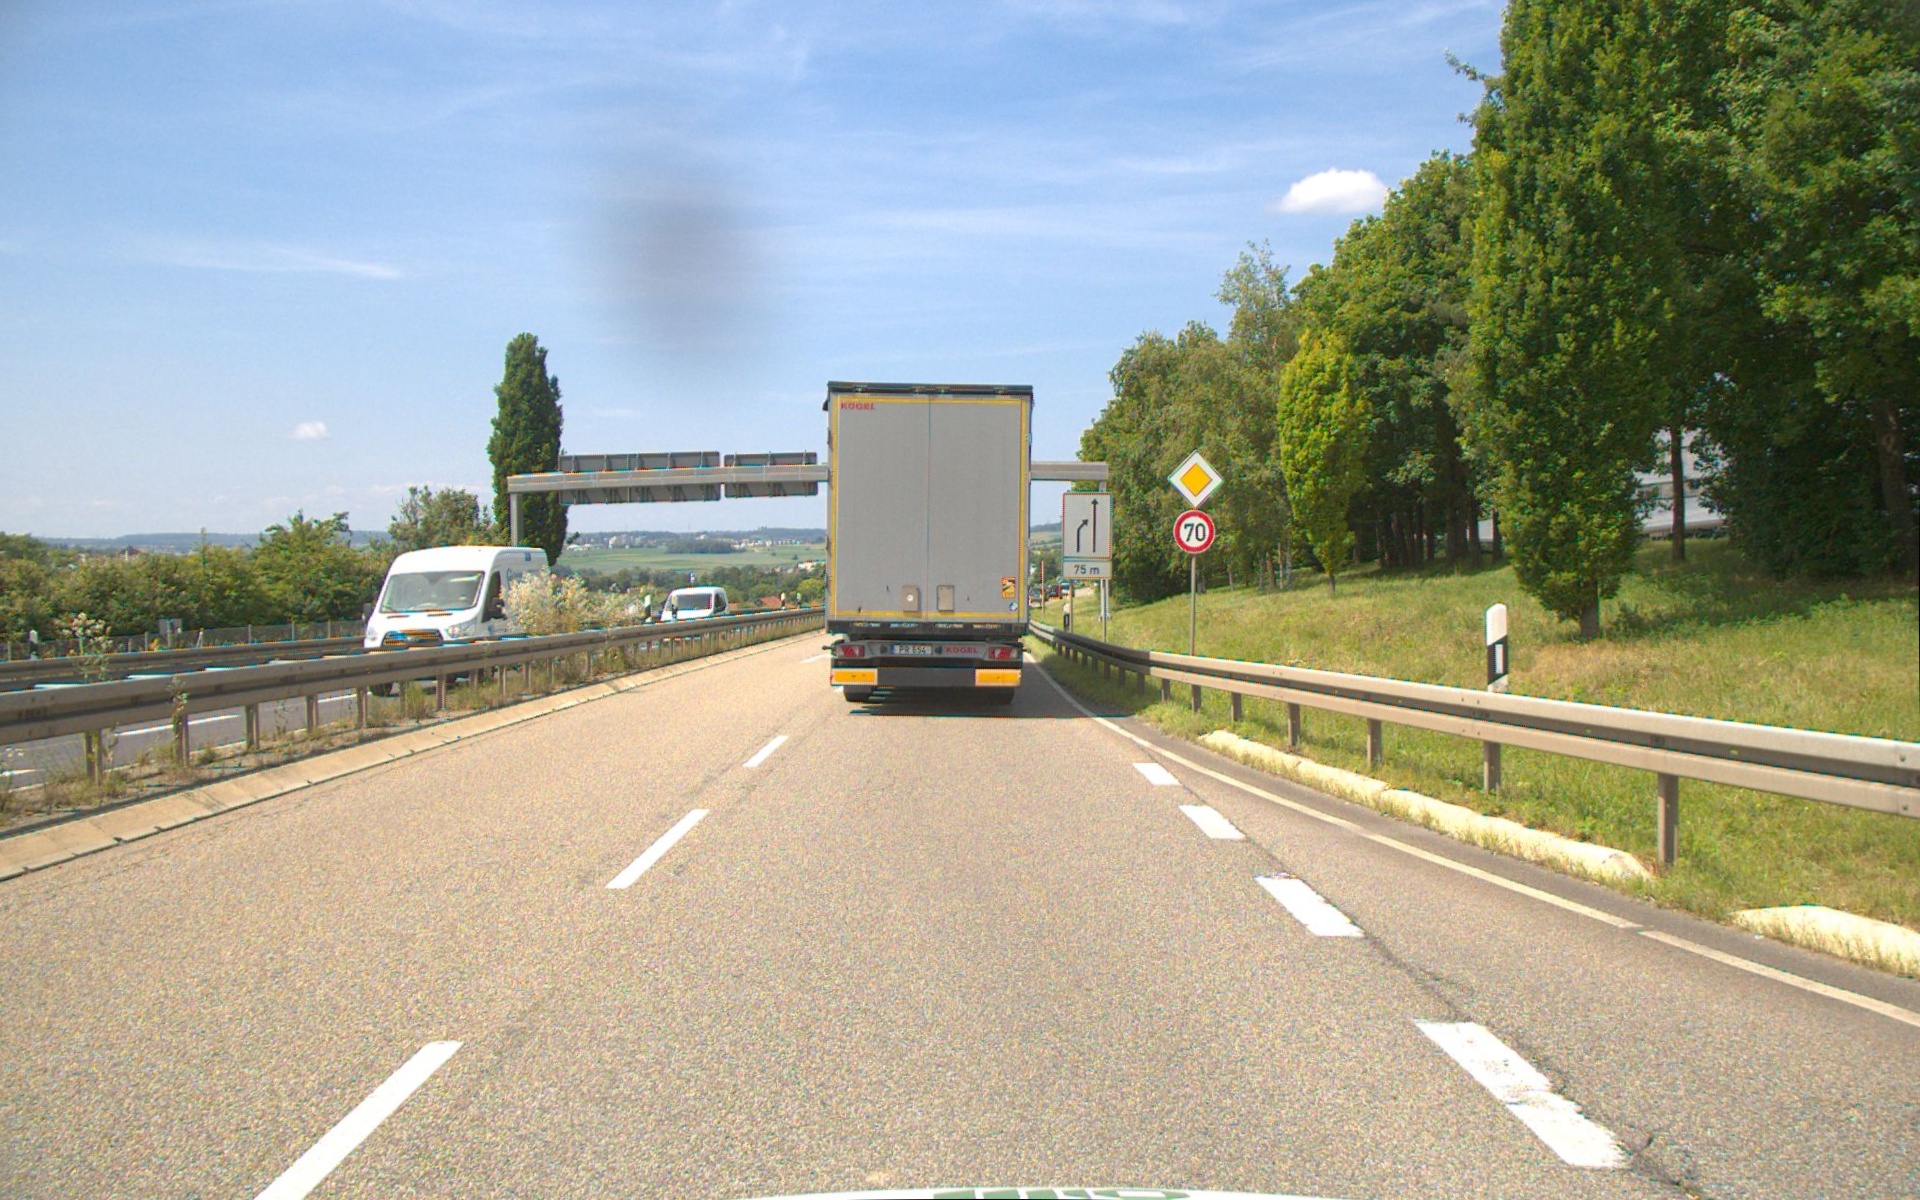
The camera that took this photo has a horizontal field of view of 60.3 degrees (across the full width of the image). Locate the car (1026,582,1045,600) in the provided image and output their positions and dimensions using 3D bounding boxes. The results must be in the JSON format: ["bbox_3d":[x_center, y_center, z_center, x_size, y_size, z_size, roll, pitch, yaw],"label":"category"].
[{"bbox_3d":[7.444,-0.832,163.142,1.749,1.717,4.000,0,-1,0],"label":"car"}]

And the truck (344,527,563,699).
[{"bbox_3d":[-8.874,0.199,29.633,1.999,2.666,6.019,-3,0,-1],"label":"truck"}]

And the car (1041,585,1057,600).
[{"bbox_3d":[10.560,-0.835,196.707,1.749,1.717,4.000,0,-1,0],"label":"car"}]

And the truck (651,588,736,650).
[{"bbox_3d":[-8.417,0.604,52.605,1.811,1.779,4.538,-3,-1,1],"label":"truck"}]

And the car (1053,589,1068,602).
[{"bbox_3d":[13.160,-0.582,216.691,1.749,1.717,4.000,0,-1,0],"label":"car"}]

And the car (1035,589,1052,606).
[{"bbox_3d":[8.989,-0.270,178.131,1.749,1.717,4.000,0,-1,0],"label":"car"}]

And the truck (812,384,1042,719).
[{"bbox_3d":[-0.431,-0.606,25.540,2.742,3.998,11.340,0,0,0],"label":"truck"}]

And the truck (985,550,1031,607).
[{"bbox_3d":[3.535,-1.434,118.778,2.599,3.830,10.168,0,-1,6],"label":"truck"}]
